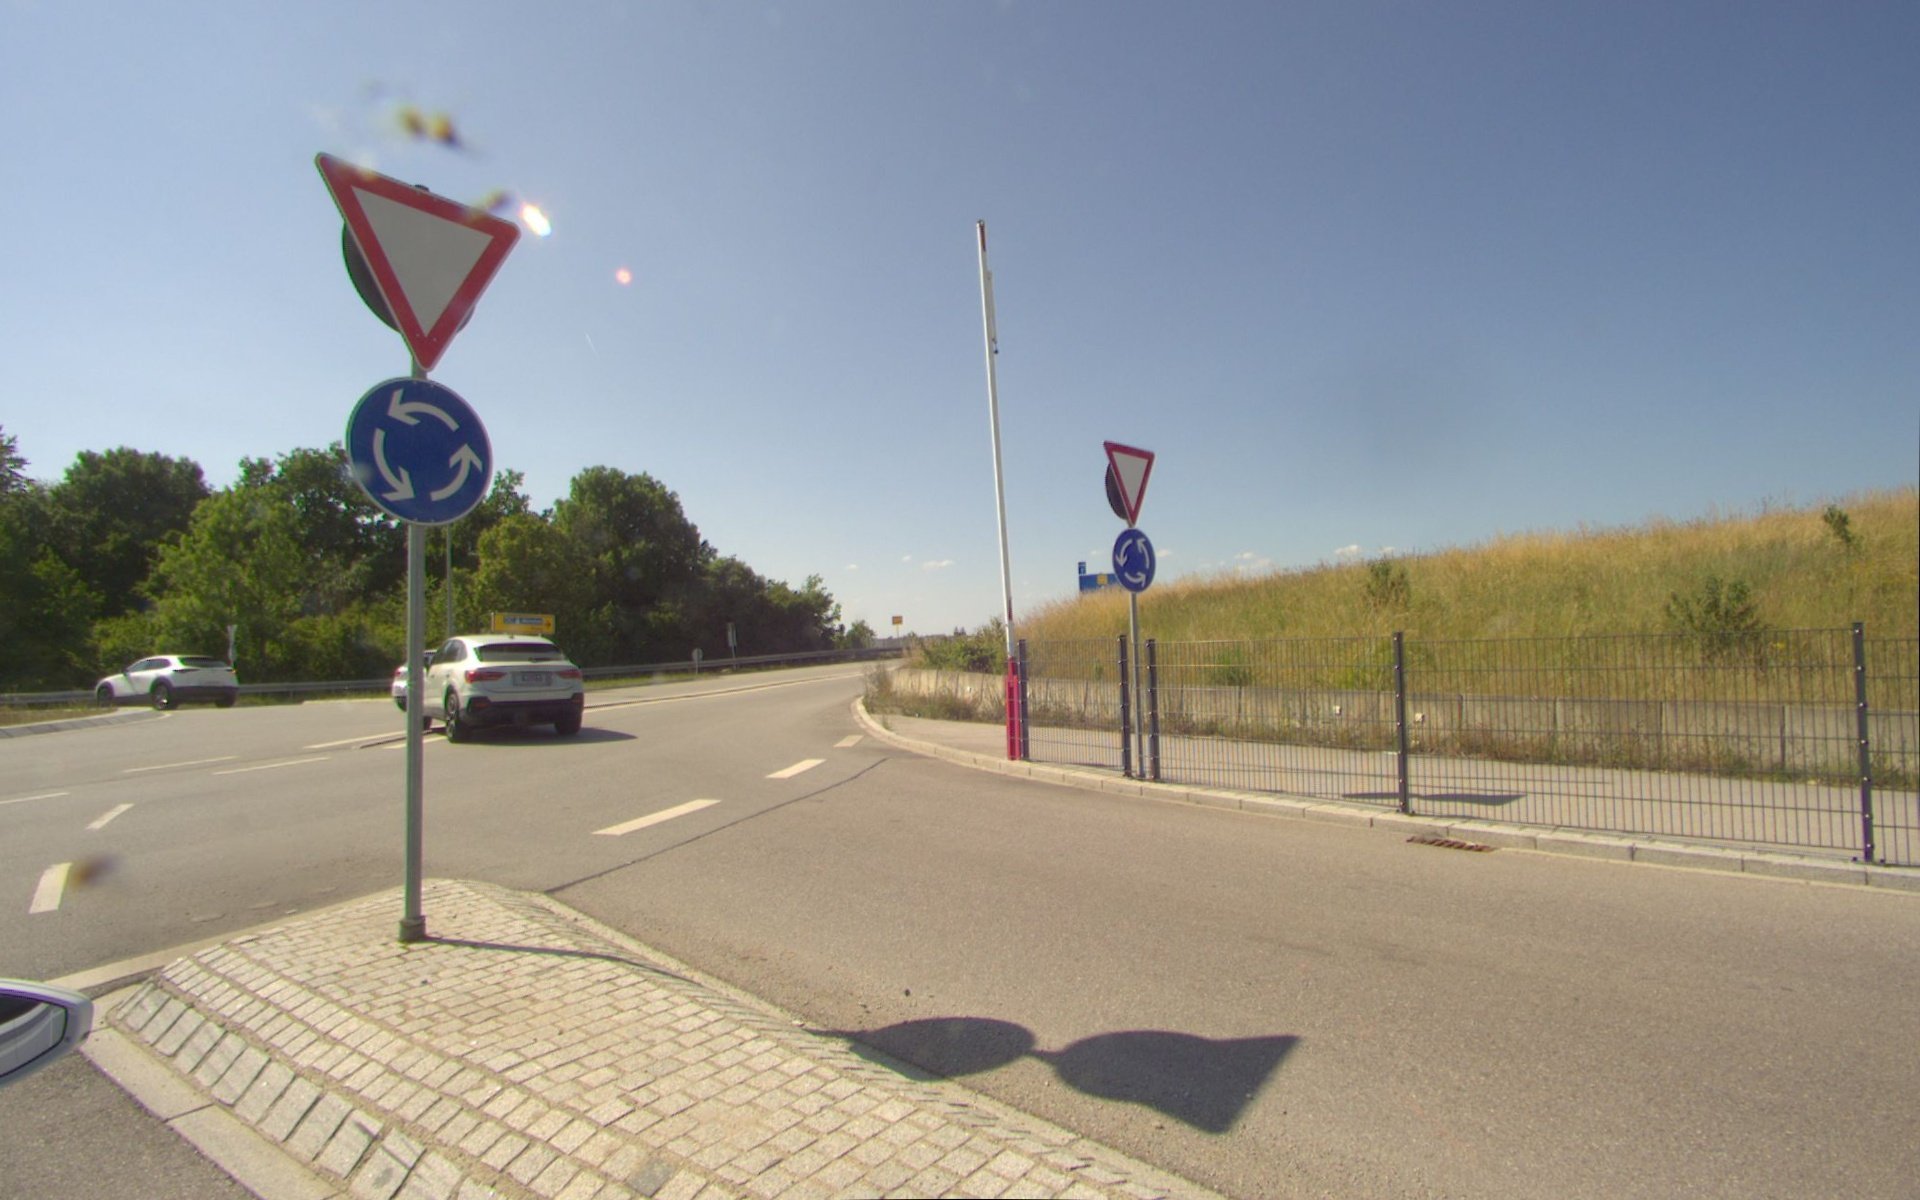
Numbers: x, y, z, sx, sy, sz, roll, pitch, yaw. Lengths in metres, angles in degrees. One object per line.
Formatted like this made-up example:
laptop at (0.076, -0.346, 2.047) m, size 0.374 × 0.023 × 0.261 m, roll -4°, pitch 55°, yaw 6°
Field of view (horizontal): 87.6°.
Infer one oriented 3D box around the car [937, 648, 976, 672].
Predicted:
car at (-0.161, 3.683, 61.836) m, size 1.543 × 1.368 × 4.341 m, roll -1°, pitch -3°, yaw 12°

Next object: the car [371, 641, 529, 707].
car at (-12.202, 1.735, 24.300) m, size 1.757 × 1.422 × 4.419 m, roll 0°, pitch -3°, yaw -3°

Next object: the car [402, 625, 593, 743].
car at (-7.509, 1.244, 16.029) m, size 1.826 × 1.616 × 4.292 m, roll 0°, pitch -2°, yaw -38°

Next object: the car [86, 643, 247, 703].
car at (-22.787, 2.090, 28.765) m, size 4.216 × 1.549 × 1.787 m, roll -3°, pitch -2°, yaw 22°
